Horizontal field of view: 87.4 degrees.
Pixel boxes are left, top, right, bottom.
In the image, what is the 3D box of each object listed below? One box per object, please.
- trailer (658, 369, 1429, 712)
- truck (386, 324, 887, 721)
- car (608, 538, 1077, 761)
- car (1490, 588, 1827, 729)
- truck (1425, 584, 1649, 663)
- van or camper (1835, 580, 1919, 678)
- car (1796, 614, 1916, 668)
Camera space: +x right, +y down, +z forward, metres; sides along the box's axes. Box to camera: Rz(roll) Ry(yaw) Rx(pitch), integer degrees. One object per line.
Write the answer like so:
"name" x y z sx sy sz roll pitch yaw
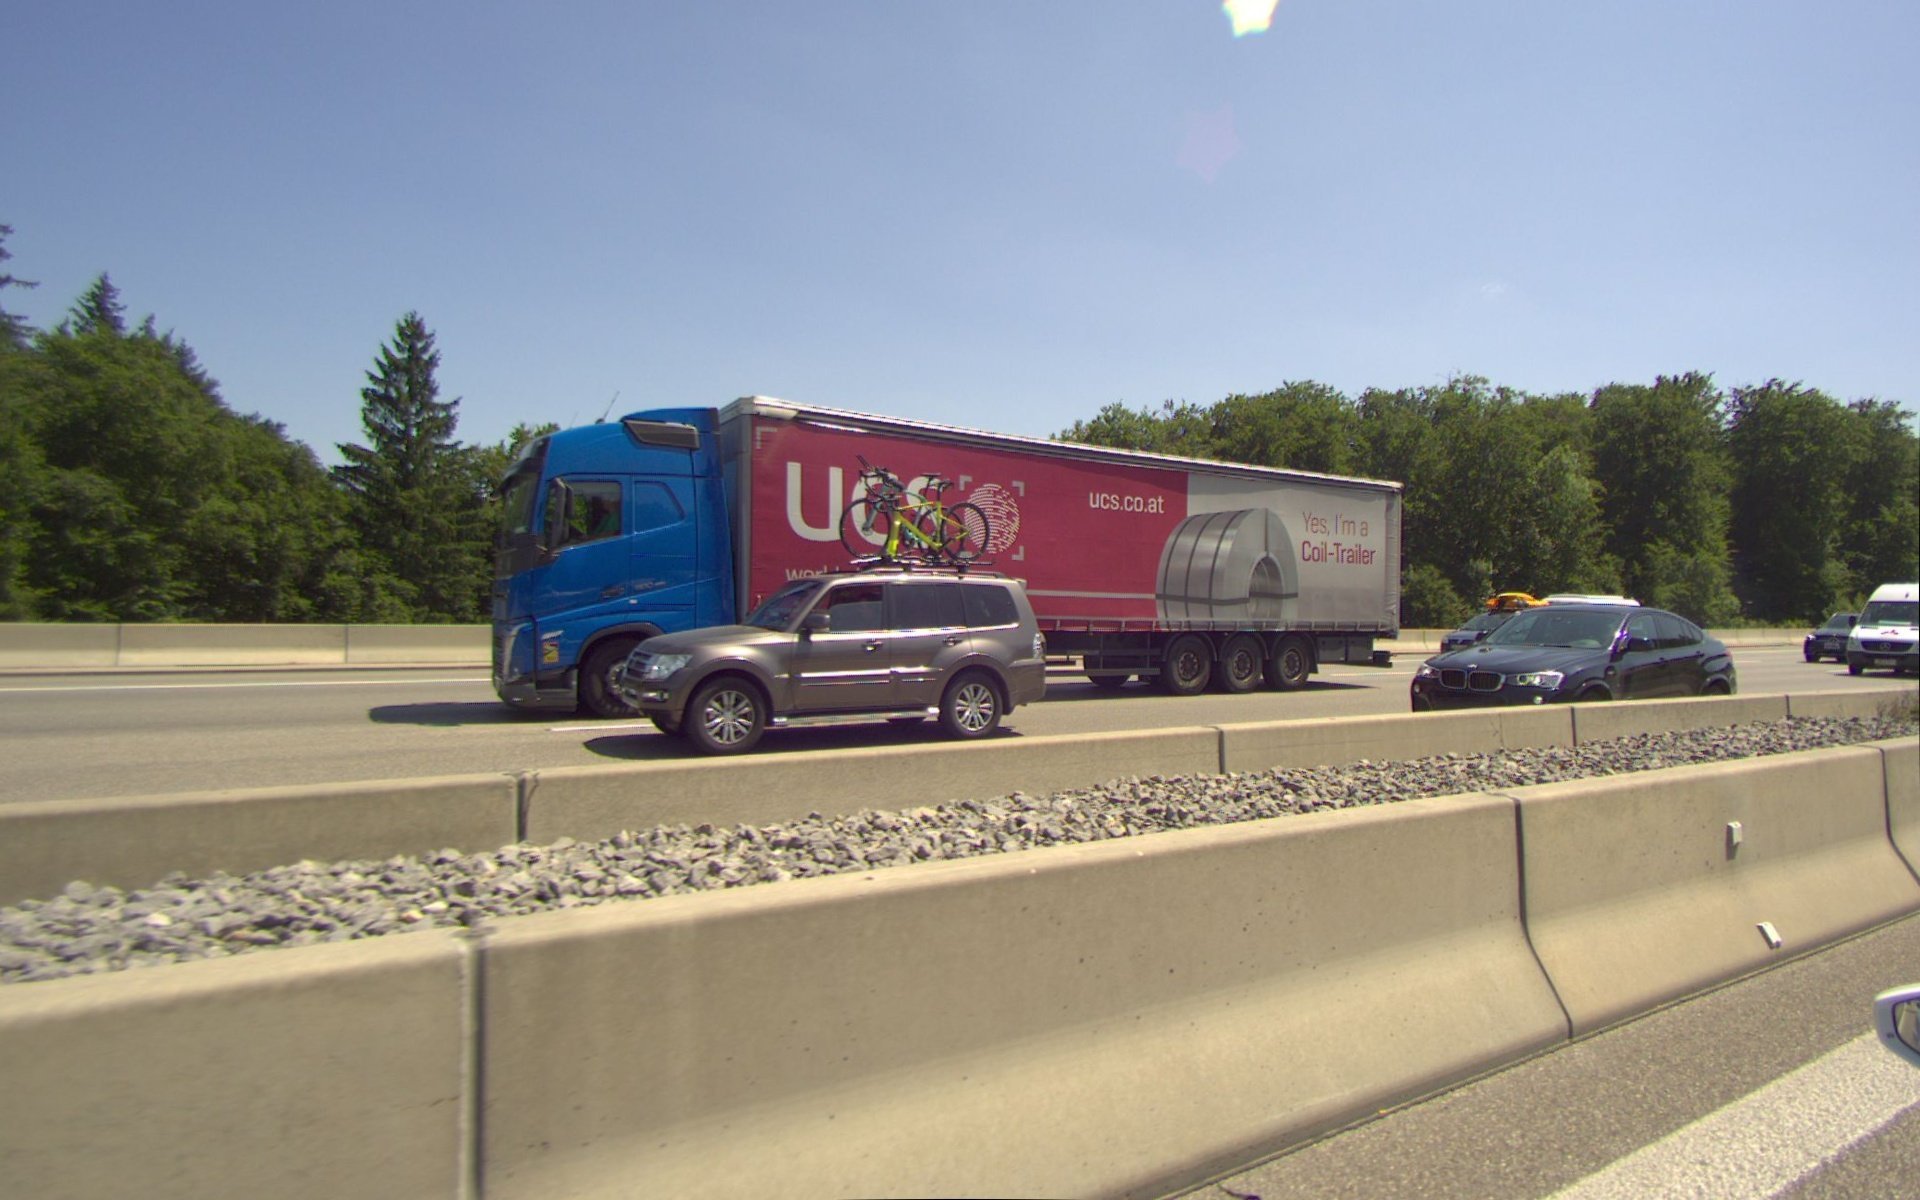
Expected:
"trailer" 2.306 -0.594 18.106 14.313 4.337 3.815 2 1 -32
"truck" -4.500 -0.791 13.876 5.812 4.233 3.766 2 1 -31
"car" -1.219 0.490 11.043 4.726 1.993 1.984 1 0 -30
"car" 9.157 0.707 13.057 4.768 1.530 1.760 2 0 -31
"truck" 18.747 0.794 32.396 8.717 2.284 2.038 2 0 -29
"van or camper" 27.534 0.828 28.766 6.332 2.600 2.087 1 0 -34
"car" 32.275 1.440 36.152 5.015 1.785 1.982 1 0 -33
